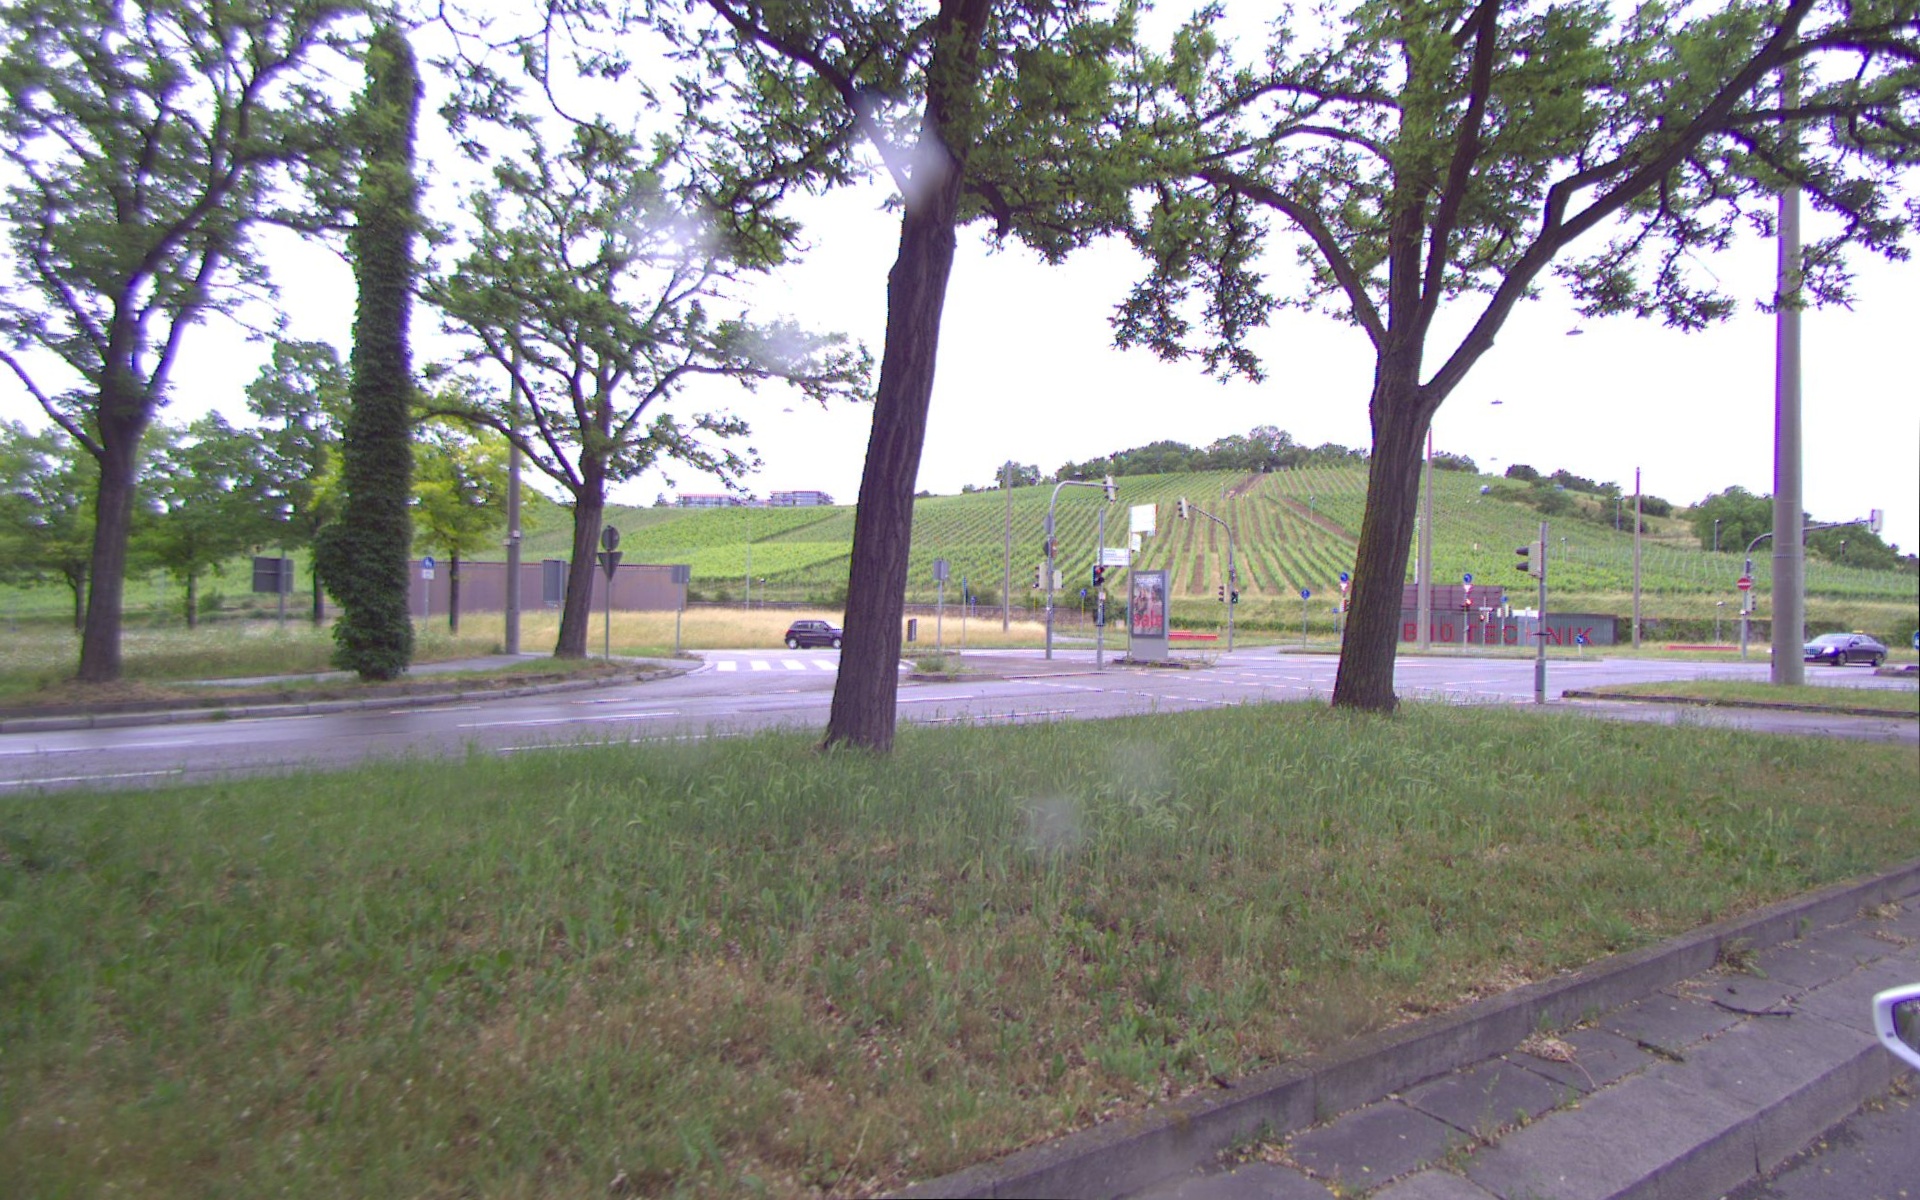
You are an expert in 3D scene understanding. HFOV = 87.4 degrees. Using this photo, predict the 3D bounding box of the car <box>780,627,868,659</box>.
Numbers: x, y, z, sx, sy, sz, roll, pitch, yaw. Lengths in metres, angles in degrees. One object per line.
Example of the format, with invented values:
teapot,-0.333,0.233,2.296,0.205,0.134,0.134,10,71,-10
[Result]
car,-6.806,2.140,50.337,3.919,1.307,1.800,3,1,15

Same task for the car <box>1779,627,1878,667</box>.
car,39.617,2.141,45.794,4.508,1.645,1.822,2,1,-27
